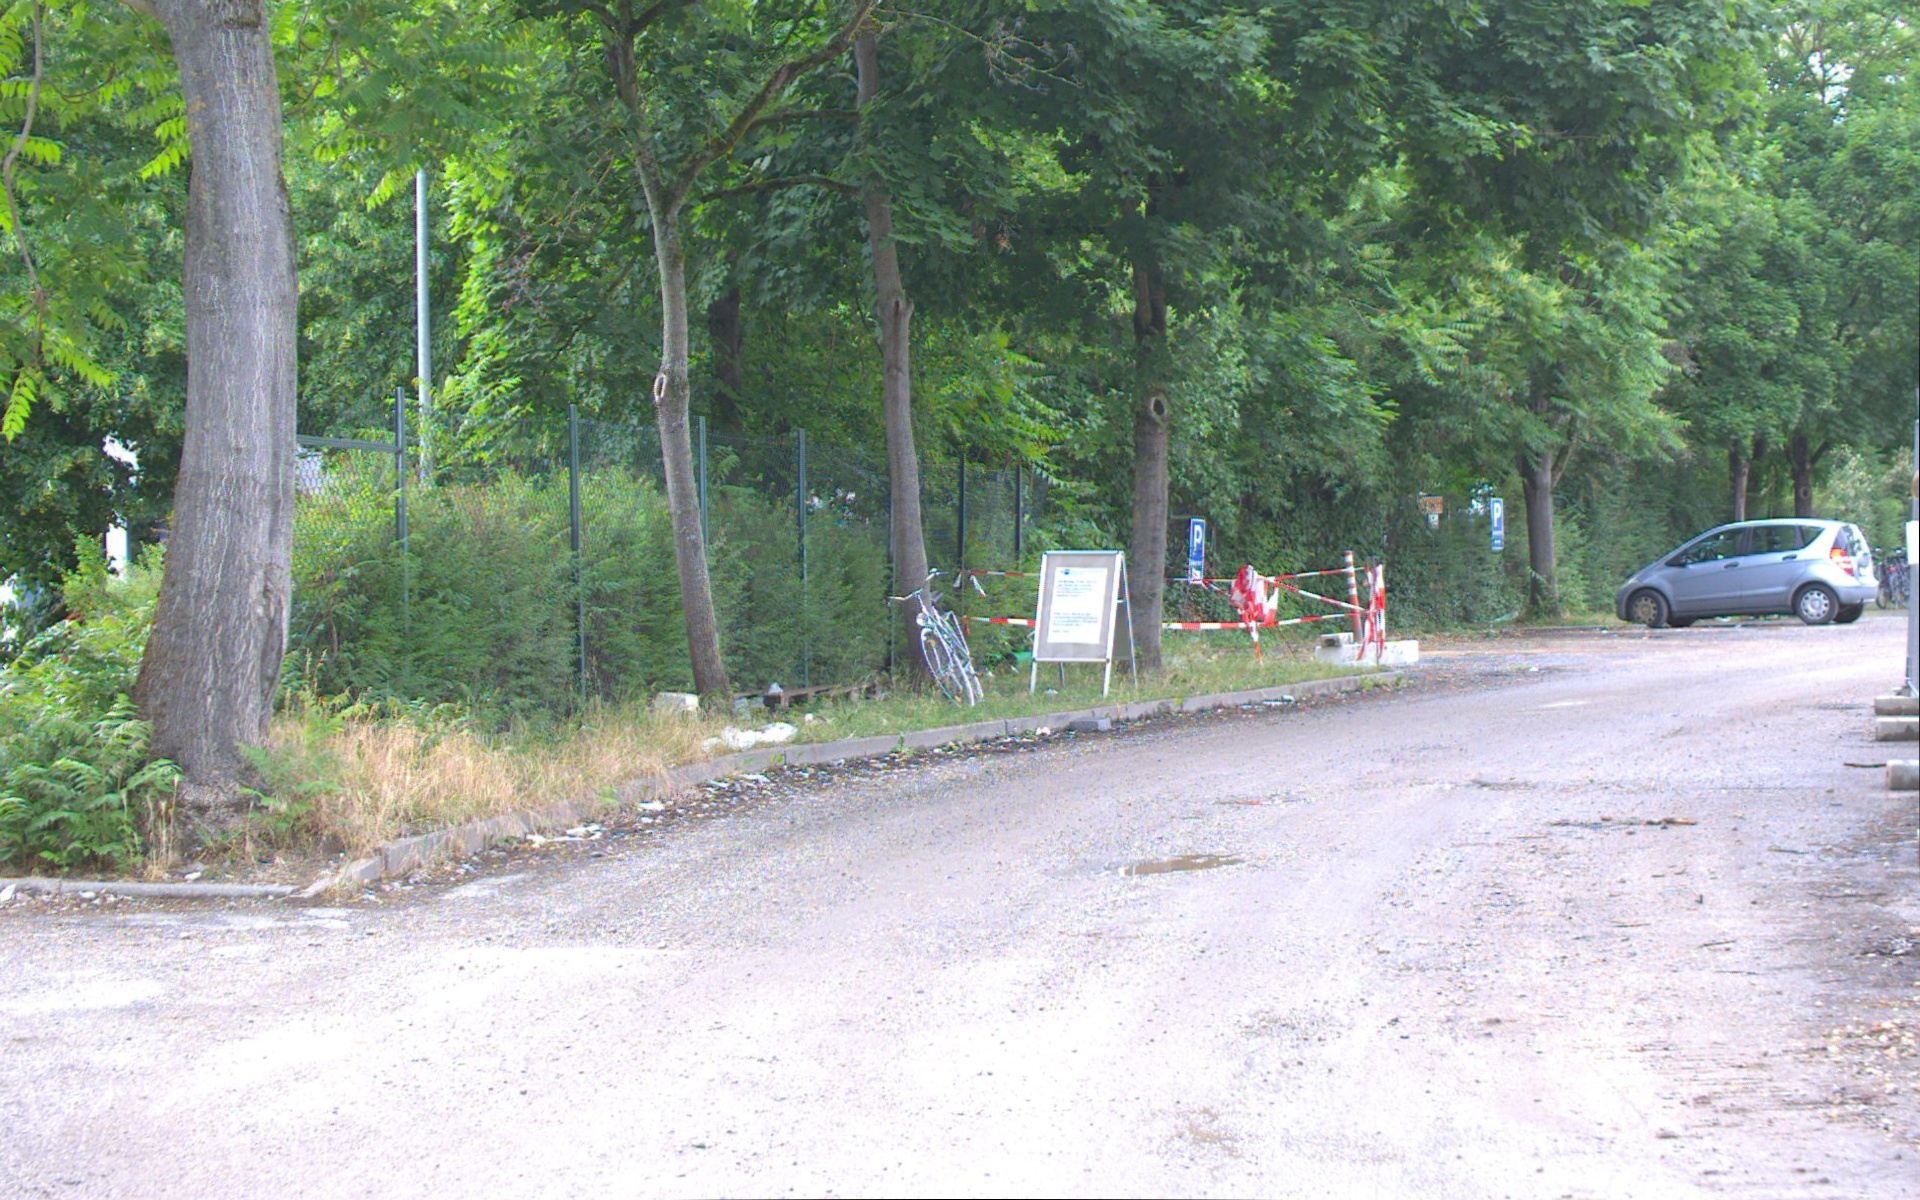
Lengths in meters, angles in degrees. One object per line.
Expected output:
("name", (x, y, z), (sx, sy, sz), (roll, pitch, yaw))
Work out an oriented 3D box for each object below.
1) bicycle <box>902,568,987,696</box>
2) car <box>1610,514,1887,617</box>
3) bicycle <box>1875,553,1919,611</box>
("bicycle", (-0.107, 0.225, 25.128), (0.419, 0.902, 1.153), (-1, 1, 10))
("car", (11.916, -0.520, 51.984), (3.705, 1.495, 1.865), (0, 1, 29))
("bicycle", (16.559, -0.326, 60.688), (0.771, 0.974, 2.030), (0, 1, 15))
